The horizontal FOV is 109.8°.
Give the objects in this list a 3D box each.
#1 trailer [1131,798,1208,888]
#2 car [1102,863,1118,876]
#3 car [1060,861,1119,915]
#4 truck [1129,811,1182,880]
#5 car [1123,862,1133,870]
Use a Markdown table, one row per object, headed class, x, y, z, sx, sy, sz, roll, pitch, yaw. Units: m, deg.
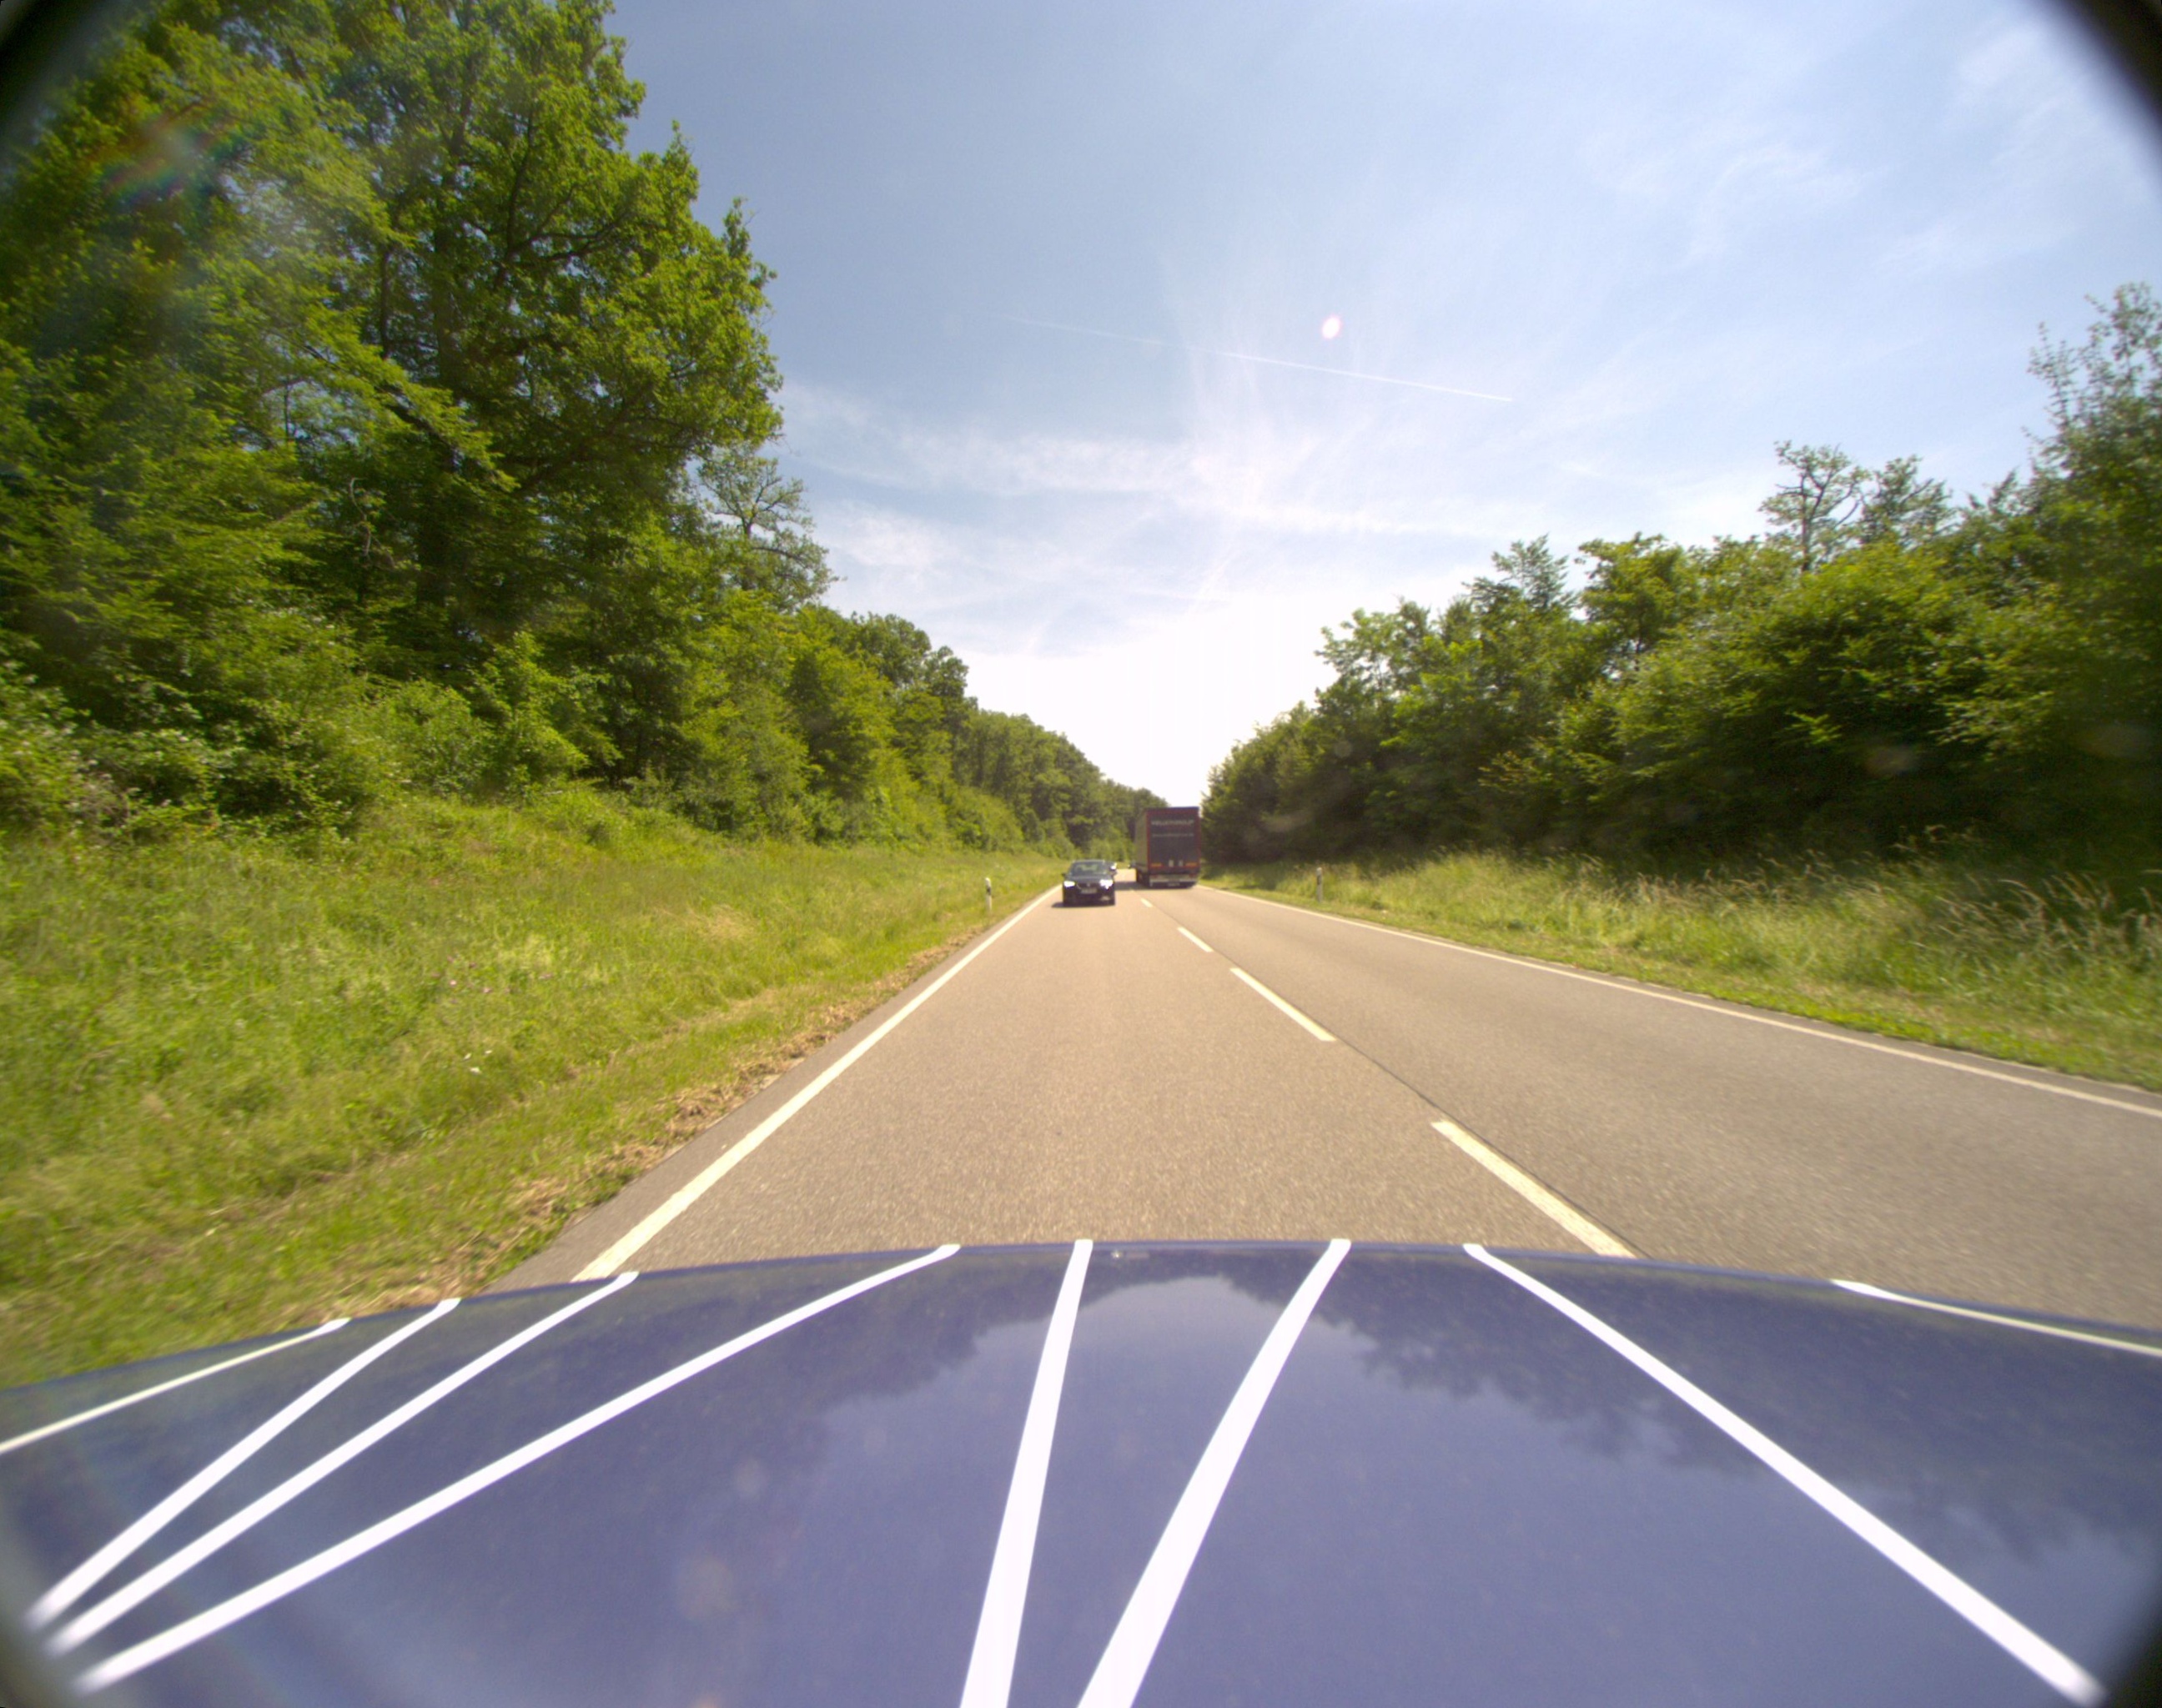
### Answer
| class | x | y | z | sx | sy | sz | roll | pitch | yaw |
| --- | --- | --- | --- | --- | --- | --- | --- | --- | --- |
| trailer | 4.692 | -0.523 | 43.158 | 2.949 | 4.228 | 13.620 | -1 | 0 | 1 |
| car | 3.544 | 1.818 | 91.161 | 1.775 | 1.454 | 3.950 | -1 | 0 | 4 |
| car | 0.327 | 1.013 | 24.412 | 1.713 | 1.516 | 4.243 | -2 | 0 | 2 |
| truck | 4.804 | -0.531 | 49.927 | 2.929 | 4.191 | 5.343 | -1 | 0 | 1 |
| car | 8.669 | 2.227 | 140.108 | 1.775 | 1.454 | 4.002 | -1 | 0 | 5 |
